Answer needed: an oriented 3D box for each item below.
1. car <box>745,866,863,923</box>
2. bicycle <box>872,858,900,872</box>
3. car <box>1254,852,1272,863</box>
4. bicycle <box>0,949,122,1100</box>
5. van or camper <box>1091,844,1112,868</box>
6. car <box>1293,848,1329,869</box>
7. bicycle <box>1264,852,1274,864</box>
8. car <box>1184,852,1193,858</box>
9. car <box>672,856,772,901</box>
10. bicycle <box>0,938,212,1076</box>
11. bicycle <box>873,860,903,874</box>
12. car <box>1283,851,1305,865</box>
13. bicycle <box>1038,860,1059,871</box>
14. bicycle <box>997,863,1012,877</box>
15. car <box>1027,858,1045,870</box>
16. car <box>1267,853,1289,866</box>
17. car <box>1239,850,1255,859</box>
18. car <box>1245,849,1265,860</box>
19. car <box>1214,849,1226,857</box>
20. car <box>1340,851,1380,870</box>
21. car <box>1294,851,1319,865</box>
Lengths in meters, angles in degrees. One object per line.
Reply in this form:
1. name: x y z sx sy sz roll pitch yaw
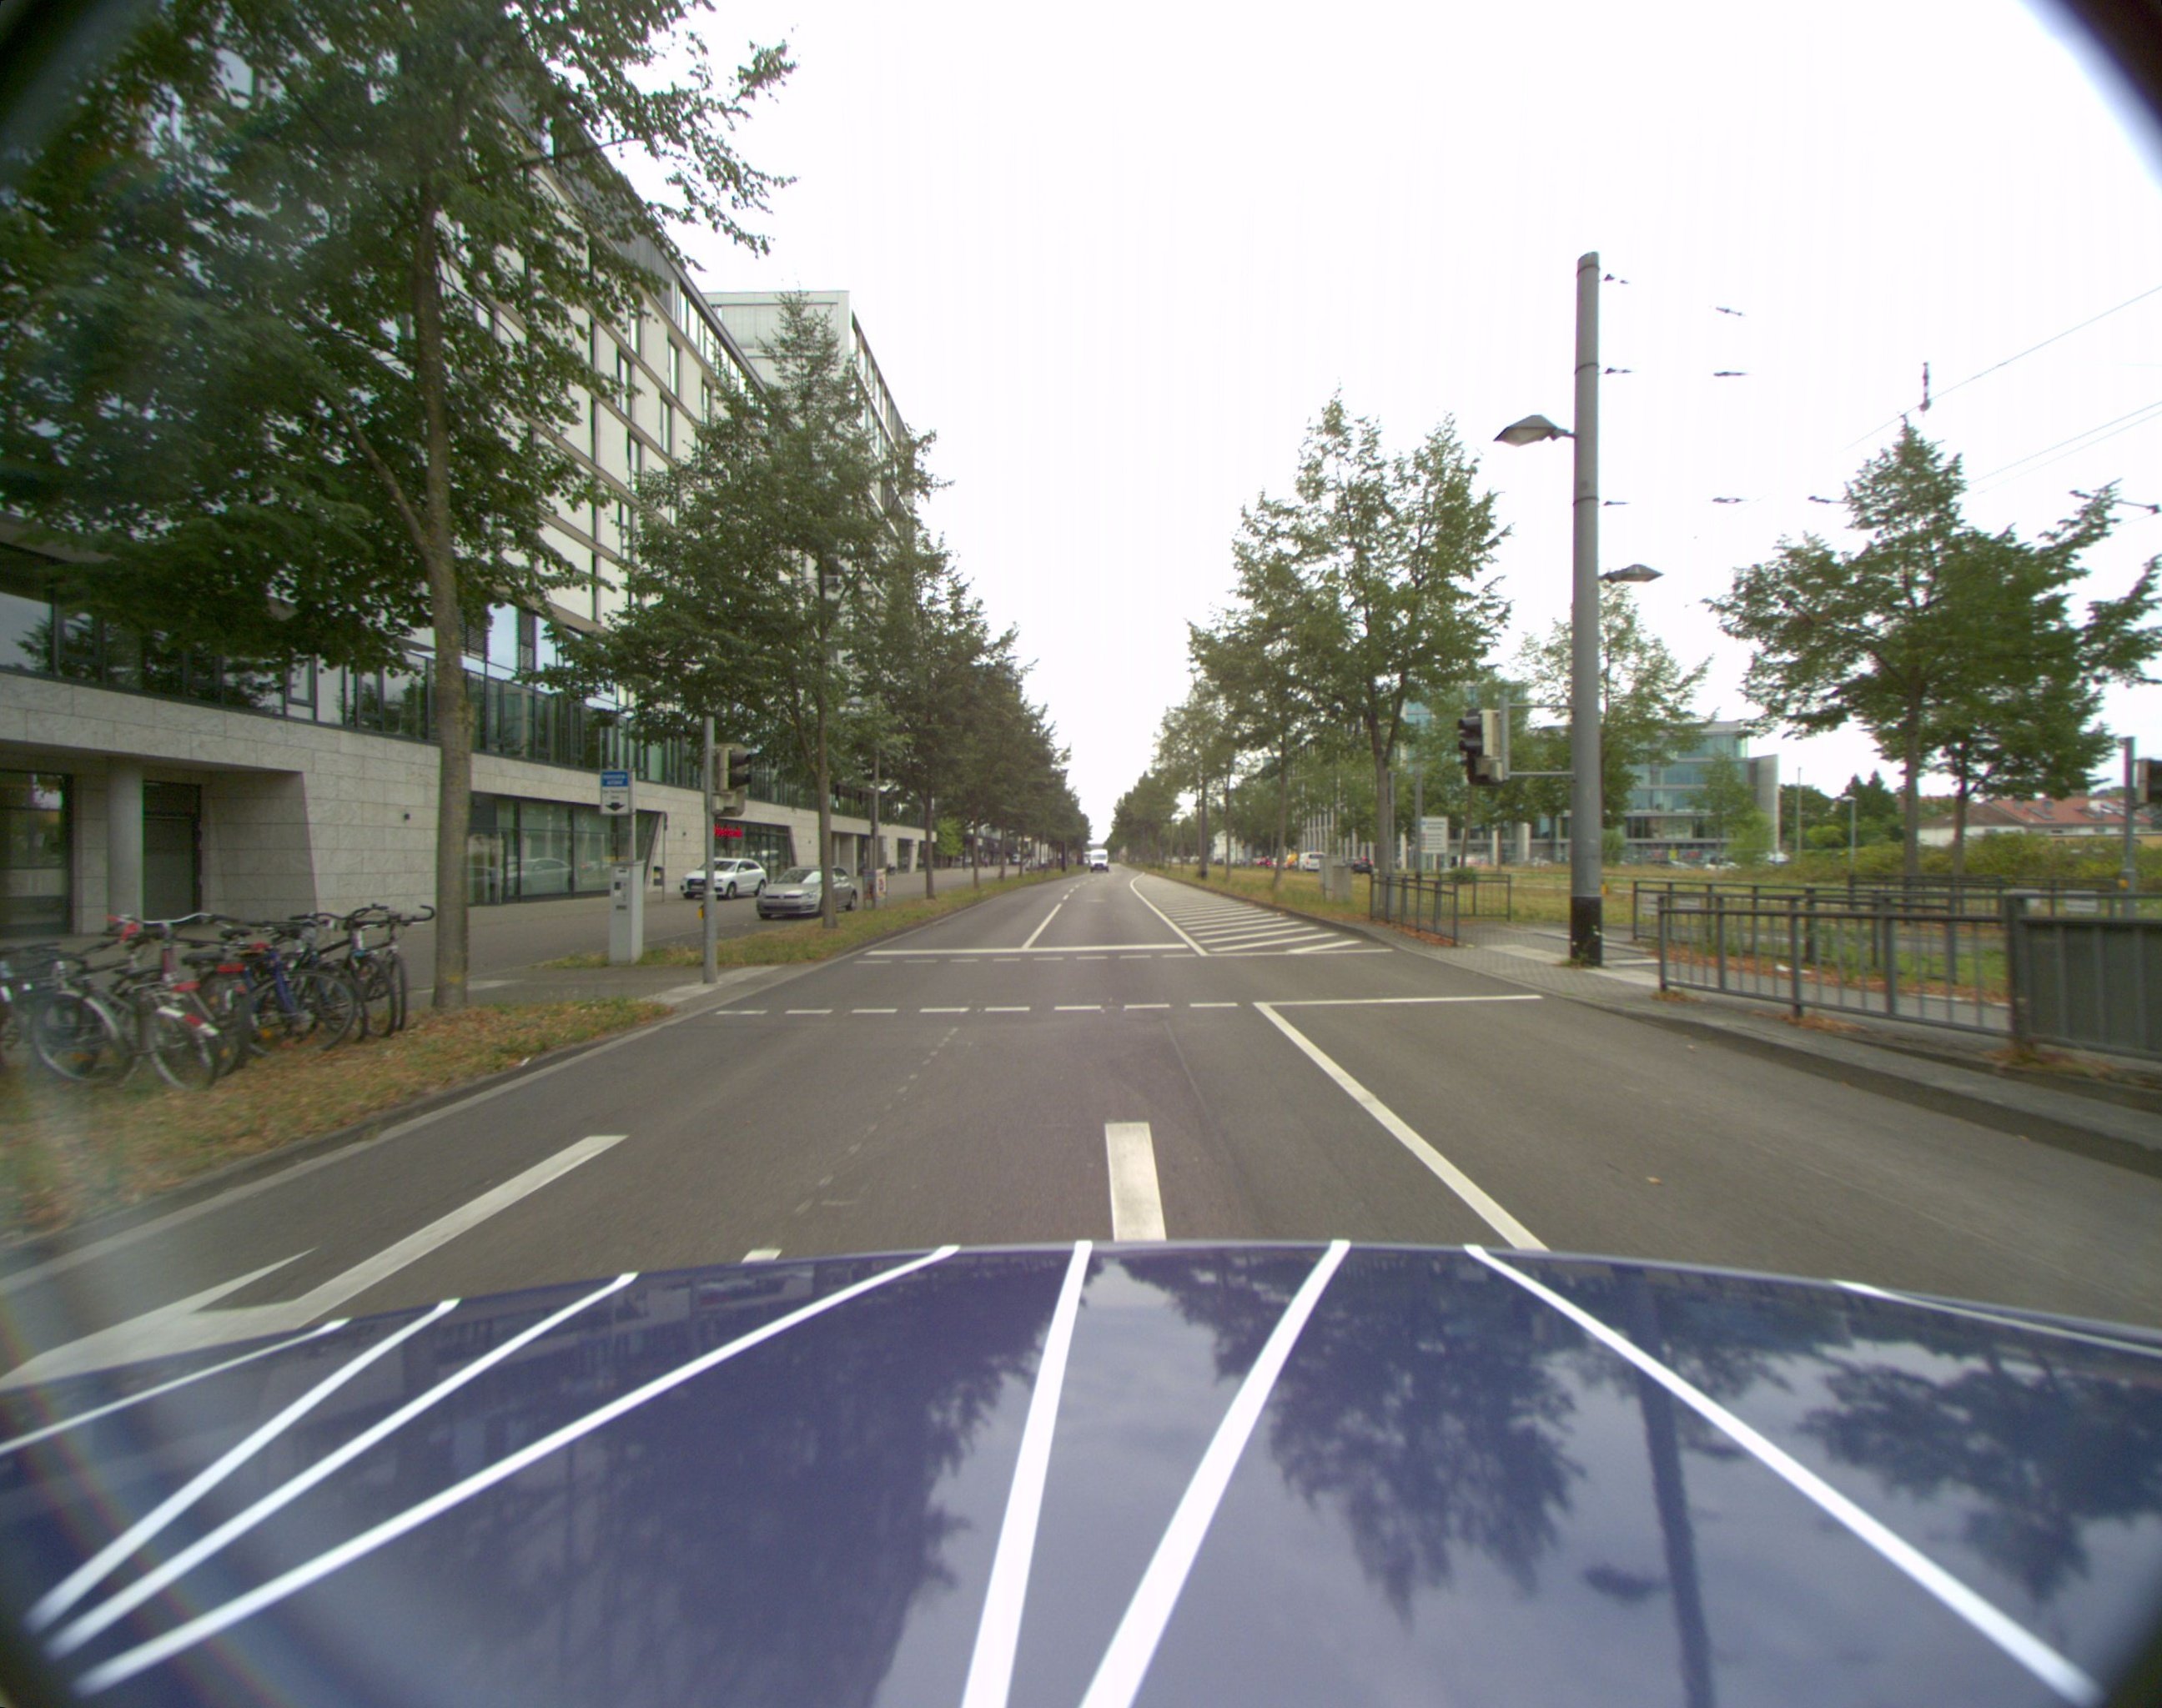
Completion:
1. car: -7.881 1.097 22.053 1.764 1.413 4.183 -1 0 2
2. bicycle: -16.937 0.988 66.092 2.238 1.170 0.975 0 1 -6
3. car: 24.318 0.477 101.652 1.752 1.448 3.866 0 0 4
4. bicycle: -7.856 1.212 5.335 1.533 0.948 0.484 -3 1 -2
5. van or camper: 2.282 0.197 84.885 2.183 2.494 6.339 -2 0 1
6. car: 21.922 0.400 72.723 1.998 1.933 5.096 0 0 1
7. bicycle: 24.036 0.458 97.186 0.711 1.479 2.358 -3 0 0
8. car: 26.700 0.252 188.959 1.752 1.448 3.865 0 0 3
9. car: -14.161 0.919 30.264 1.862 1.579 4.240 2 0 2
10. bicycle: -8.098 1.213 6.094 1.533 0.948 0.552 -3 1 -2
11. bicycle: -17.111 1.166 67.325 2.426 1.170 1.202 0 1 -6
12. car: 27.182 0.548 97.264 1.956 1.761 4.446 -1 0 5
13. bicycle: -3.011 1.050 70.436 1.790 1.013 0.422 -1 1 -13
14. bicycle: -5.262 1.116 52.284 0.634 0.871 2.116 -3 1 3
15. car: -5.845 1.316 99.035 1.954 1.521 4.000 -1 0 1
16. car: 23.090 0.625 89.159 1.753 1.488 3.865 -1 0 1
17. car: 25.447 0.073 116.481 1.752 1.448 3.865 0 0 3
18. car: 24.631 0.051 107.548 1.998 1.410 4.000 0 0 1
19. car: 26.705 -0.191 146.161 1.752 1.448 3.865 0 0 3
20. car: 24.925 0.552 68.112 1.832 1.646 4.691 -1 0 -1
21. car: 25.167 0.411 84.901 1.753 1.488 3.865 -1 0 1
